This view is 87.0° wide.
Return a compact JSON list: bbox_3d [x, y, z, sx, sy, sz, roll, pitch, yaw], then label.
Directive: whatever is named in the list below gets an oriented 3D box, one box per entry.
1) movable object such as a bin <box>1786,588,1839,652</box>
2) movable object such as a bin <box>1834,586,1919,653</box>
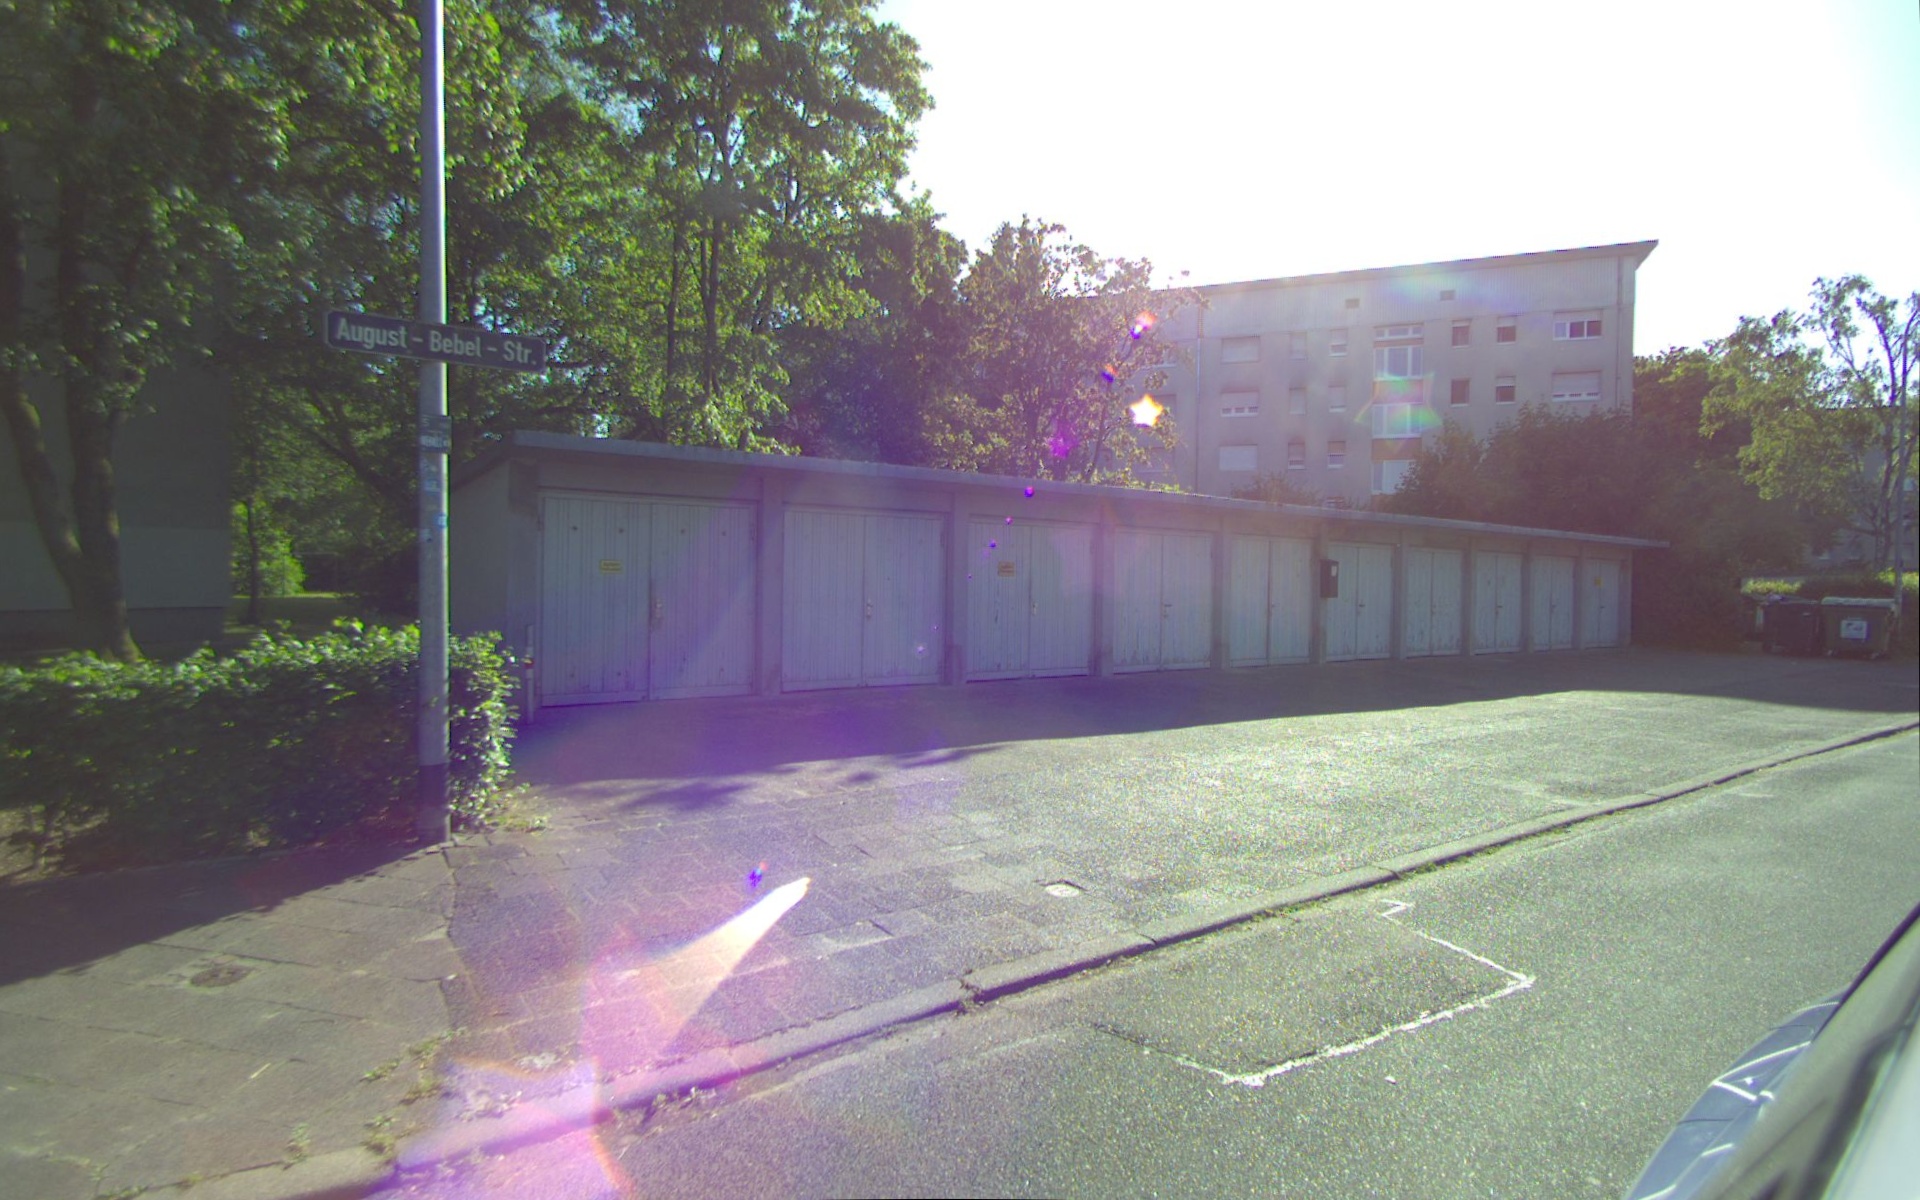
[{"bbox_3d":[20.312,0.464,24.107,0.833,1.459,0.754,-1,3,-38],"label":"movable object such as a bin"},{"bbox_3d":[21.324,0.425,23.533,1.158,1.459,1.278,-1,3,-38],"label":"movable object such as a bin"}]
